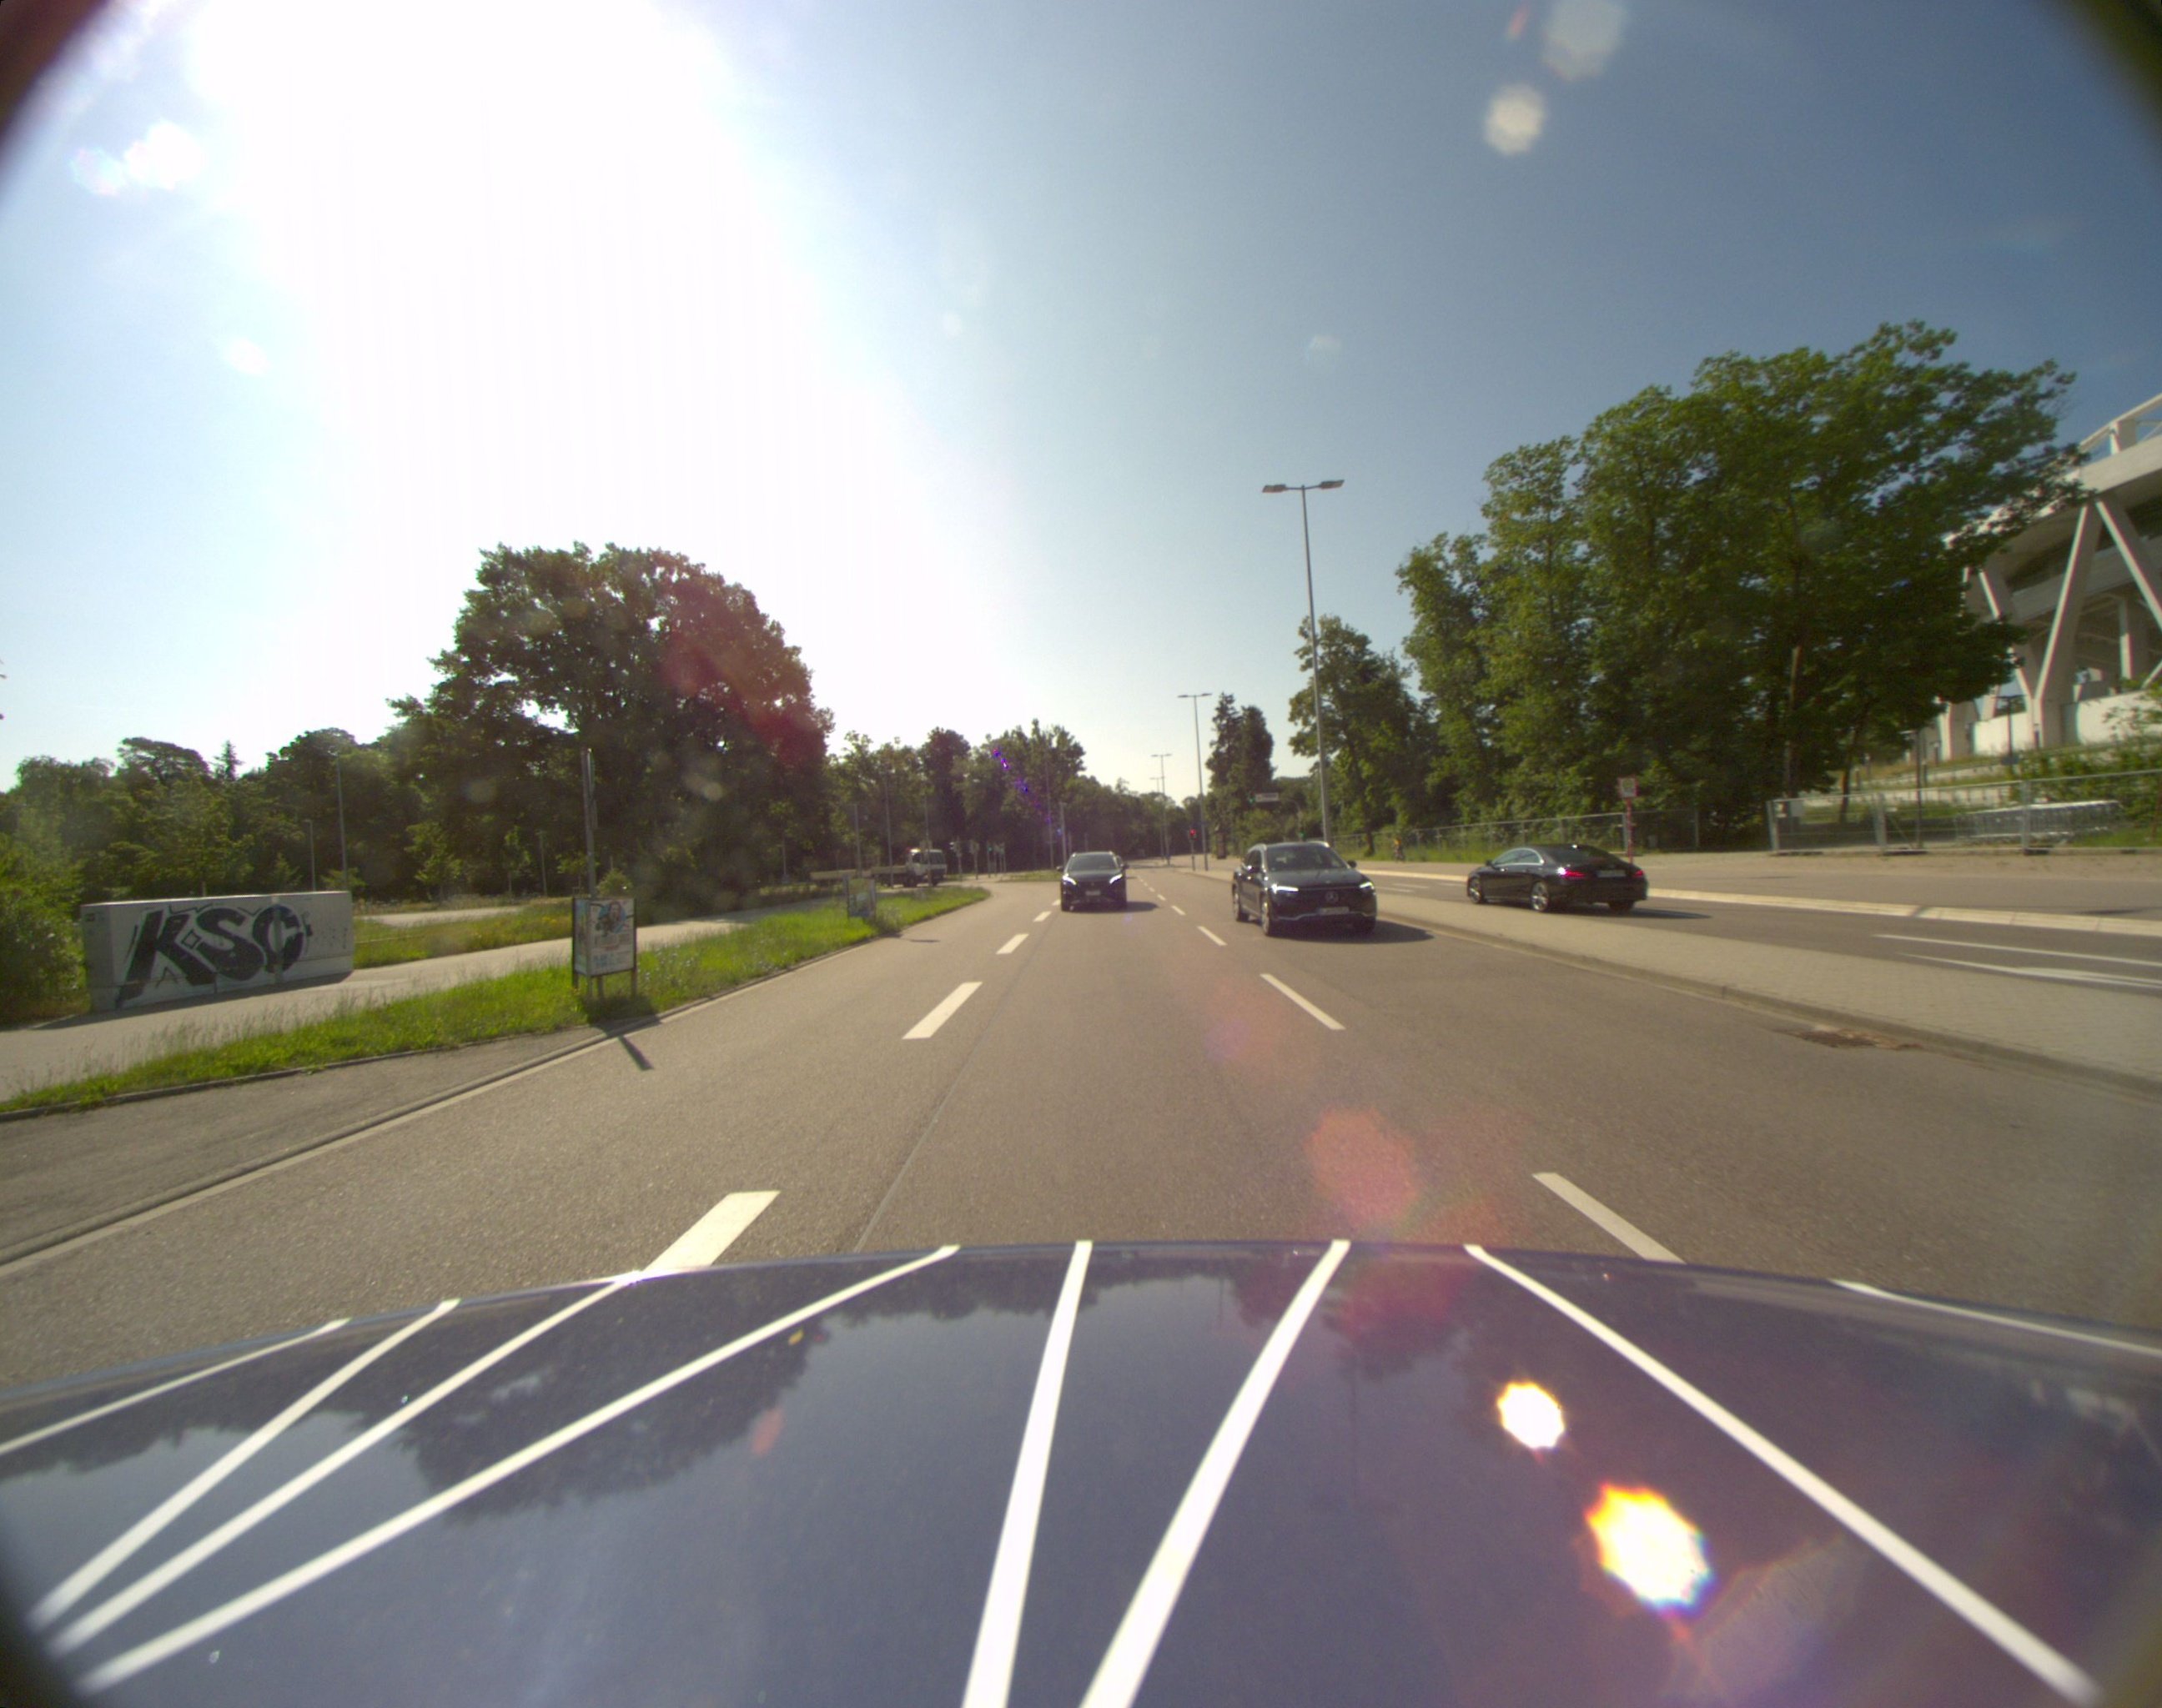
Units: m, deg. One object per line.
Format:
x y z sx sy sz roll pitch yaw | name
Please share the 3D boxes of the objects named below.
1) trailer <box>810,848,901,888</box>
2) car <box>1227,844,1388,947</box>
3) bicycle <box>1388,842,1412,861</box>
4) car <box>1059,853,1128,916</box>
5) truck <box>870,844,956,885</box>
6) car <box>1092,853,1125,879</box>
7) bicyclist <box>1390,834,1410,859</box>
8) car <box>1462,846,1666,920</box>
-17.667 1.122 59.429 6.871 2.672 2.708 -3 0 30 | trailer
4.023 0.652 14.249 1.809 1.587 4.273 -2 0 2 | car
19.656 -0.141 46.850 0.661 1.129 1.878 -5 0 1 | bicycle
0.468 0.809 22.248 1.702 1.581 4.320 -3 0 4 | car
-12.404 0.790 55.935 6.187 2.702 2.685 -3 1 38 | truck
1.775 0.715 48.260 1.932 1.499 4.001 -3 0 2 | car
19.628 -0.470 46.759 0.661 1.459 1.057 -5 0 1 | bicyclist
10.184 0.541 16.455 1.815 1.380 4.162 -1 0 1 | car
